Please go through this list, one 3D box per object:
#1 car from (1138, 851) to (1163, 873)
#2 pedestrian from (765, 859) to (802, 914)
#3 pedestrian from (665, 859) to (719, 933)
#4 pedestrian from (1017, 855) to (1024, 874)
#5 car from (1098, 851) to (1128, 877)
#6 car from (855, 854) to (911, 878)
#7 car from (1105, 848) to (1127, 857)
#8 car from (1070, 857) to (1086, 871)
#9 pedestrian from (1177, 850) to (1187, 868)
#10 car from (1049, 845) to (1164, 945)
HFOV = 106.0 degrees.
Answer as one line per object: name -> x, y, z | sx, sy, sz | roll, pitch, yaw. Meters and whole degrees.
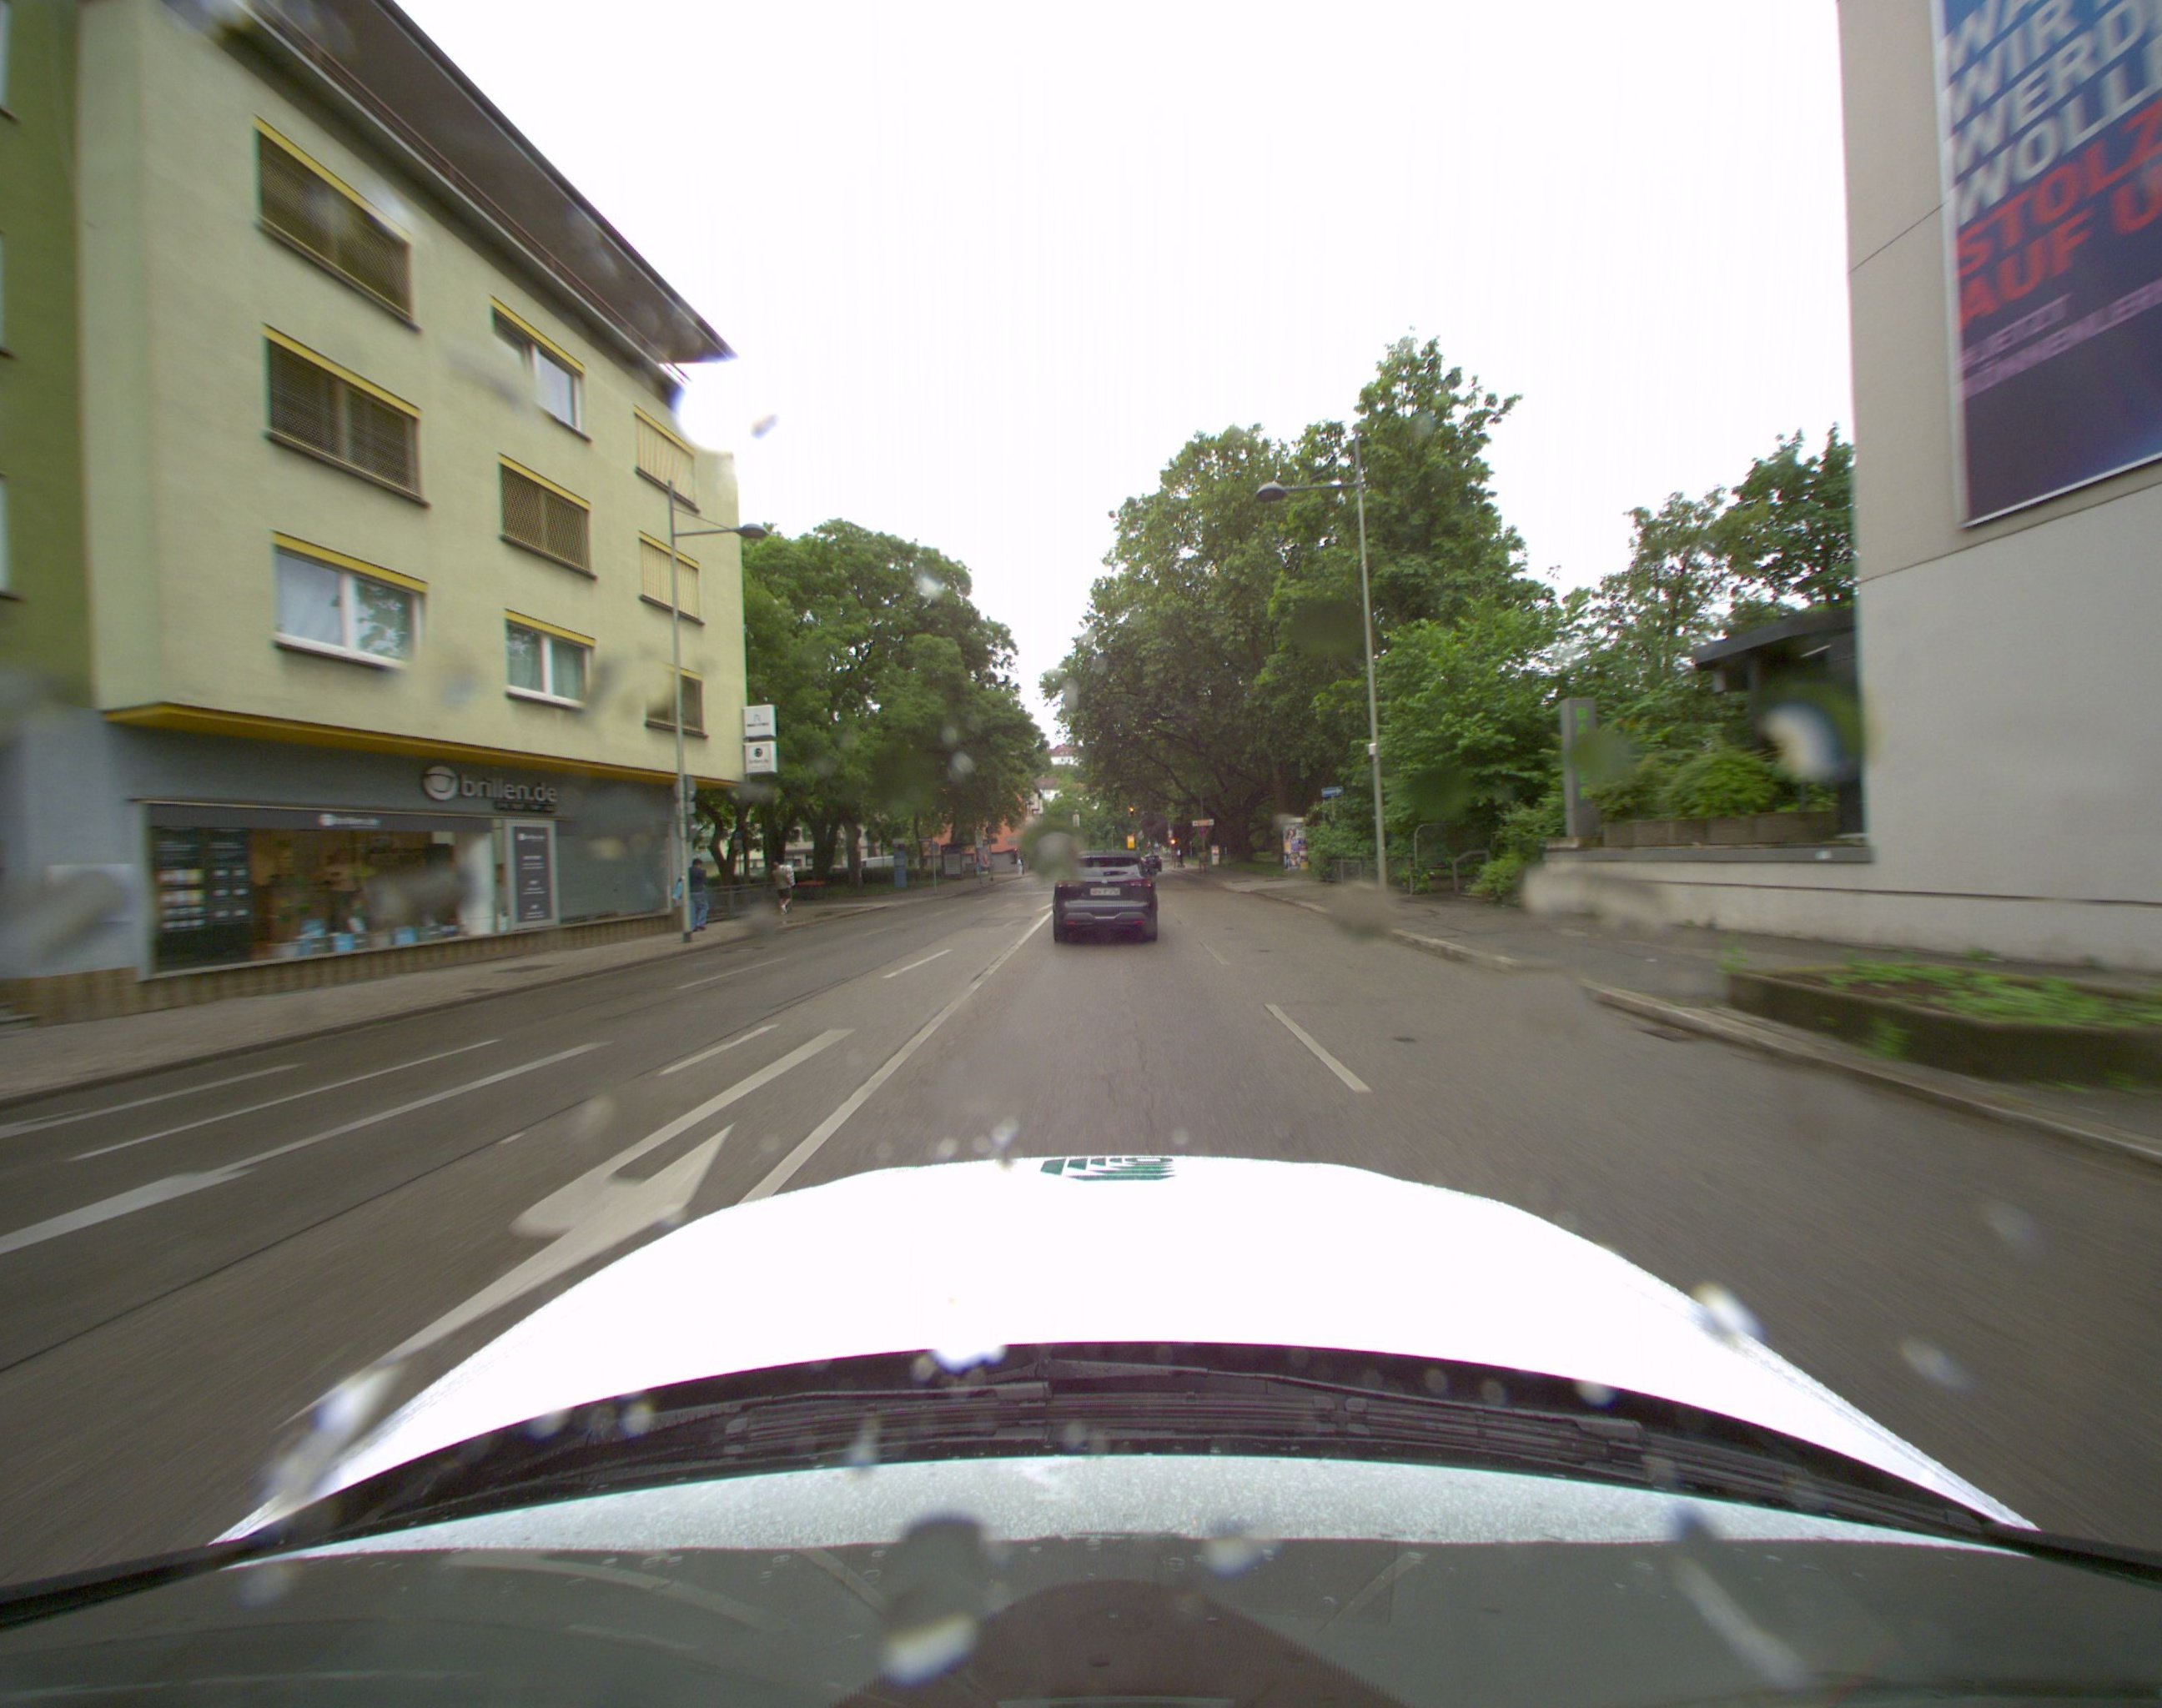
car -> 6.375, 0.752, 75.236 | 1.939, 1.816, 4.000 | -5, -1, 1
pedestrian -> -9.414, 1.016, 25.801 | 0.795, 1.688, 0.817 | -3, 0, 1
pedestrian -> -9.640, 1.018, 20.188 | 0.860, 1.788, 0.877 | 0, 0, 8
pedestrian -> -5.781, 1.040, 78.076 | 0.665, 1.791, 0.720 | -1, 0, -5
car -> 2.250, 0.686, 56.838 | 1.937, 1.685, 4.003 | -3, -1, 3
car -> -15.274, 0.936, 62.956 | 3.820, 1.734, 1.879 | -1, 0, 0
car -> 9.677, -0.340, 228.032 | 6.060, 2.355, 2.421 | -1, 0, -1
car -> -0.433, 1.297, 106.561 | 1.813, 1.796, 3.869 | -1, 0, 3
pedestrian -> 10.002, 0.522, 80.525 | 0.672, 1.791, 0.713 | -1, 0, -40
car -> 0.385, 0.659, 15.509 | 1.889, 1.629, 3.998 | -1, 0, -1
